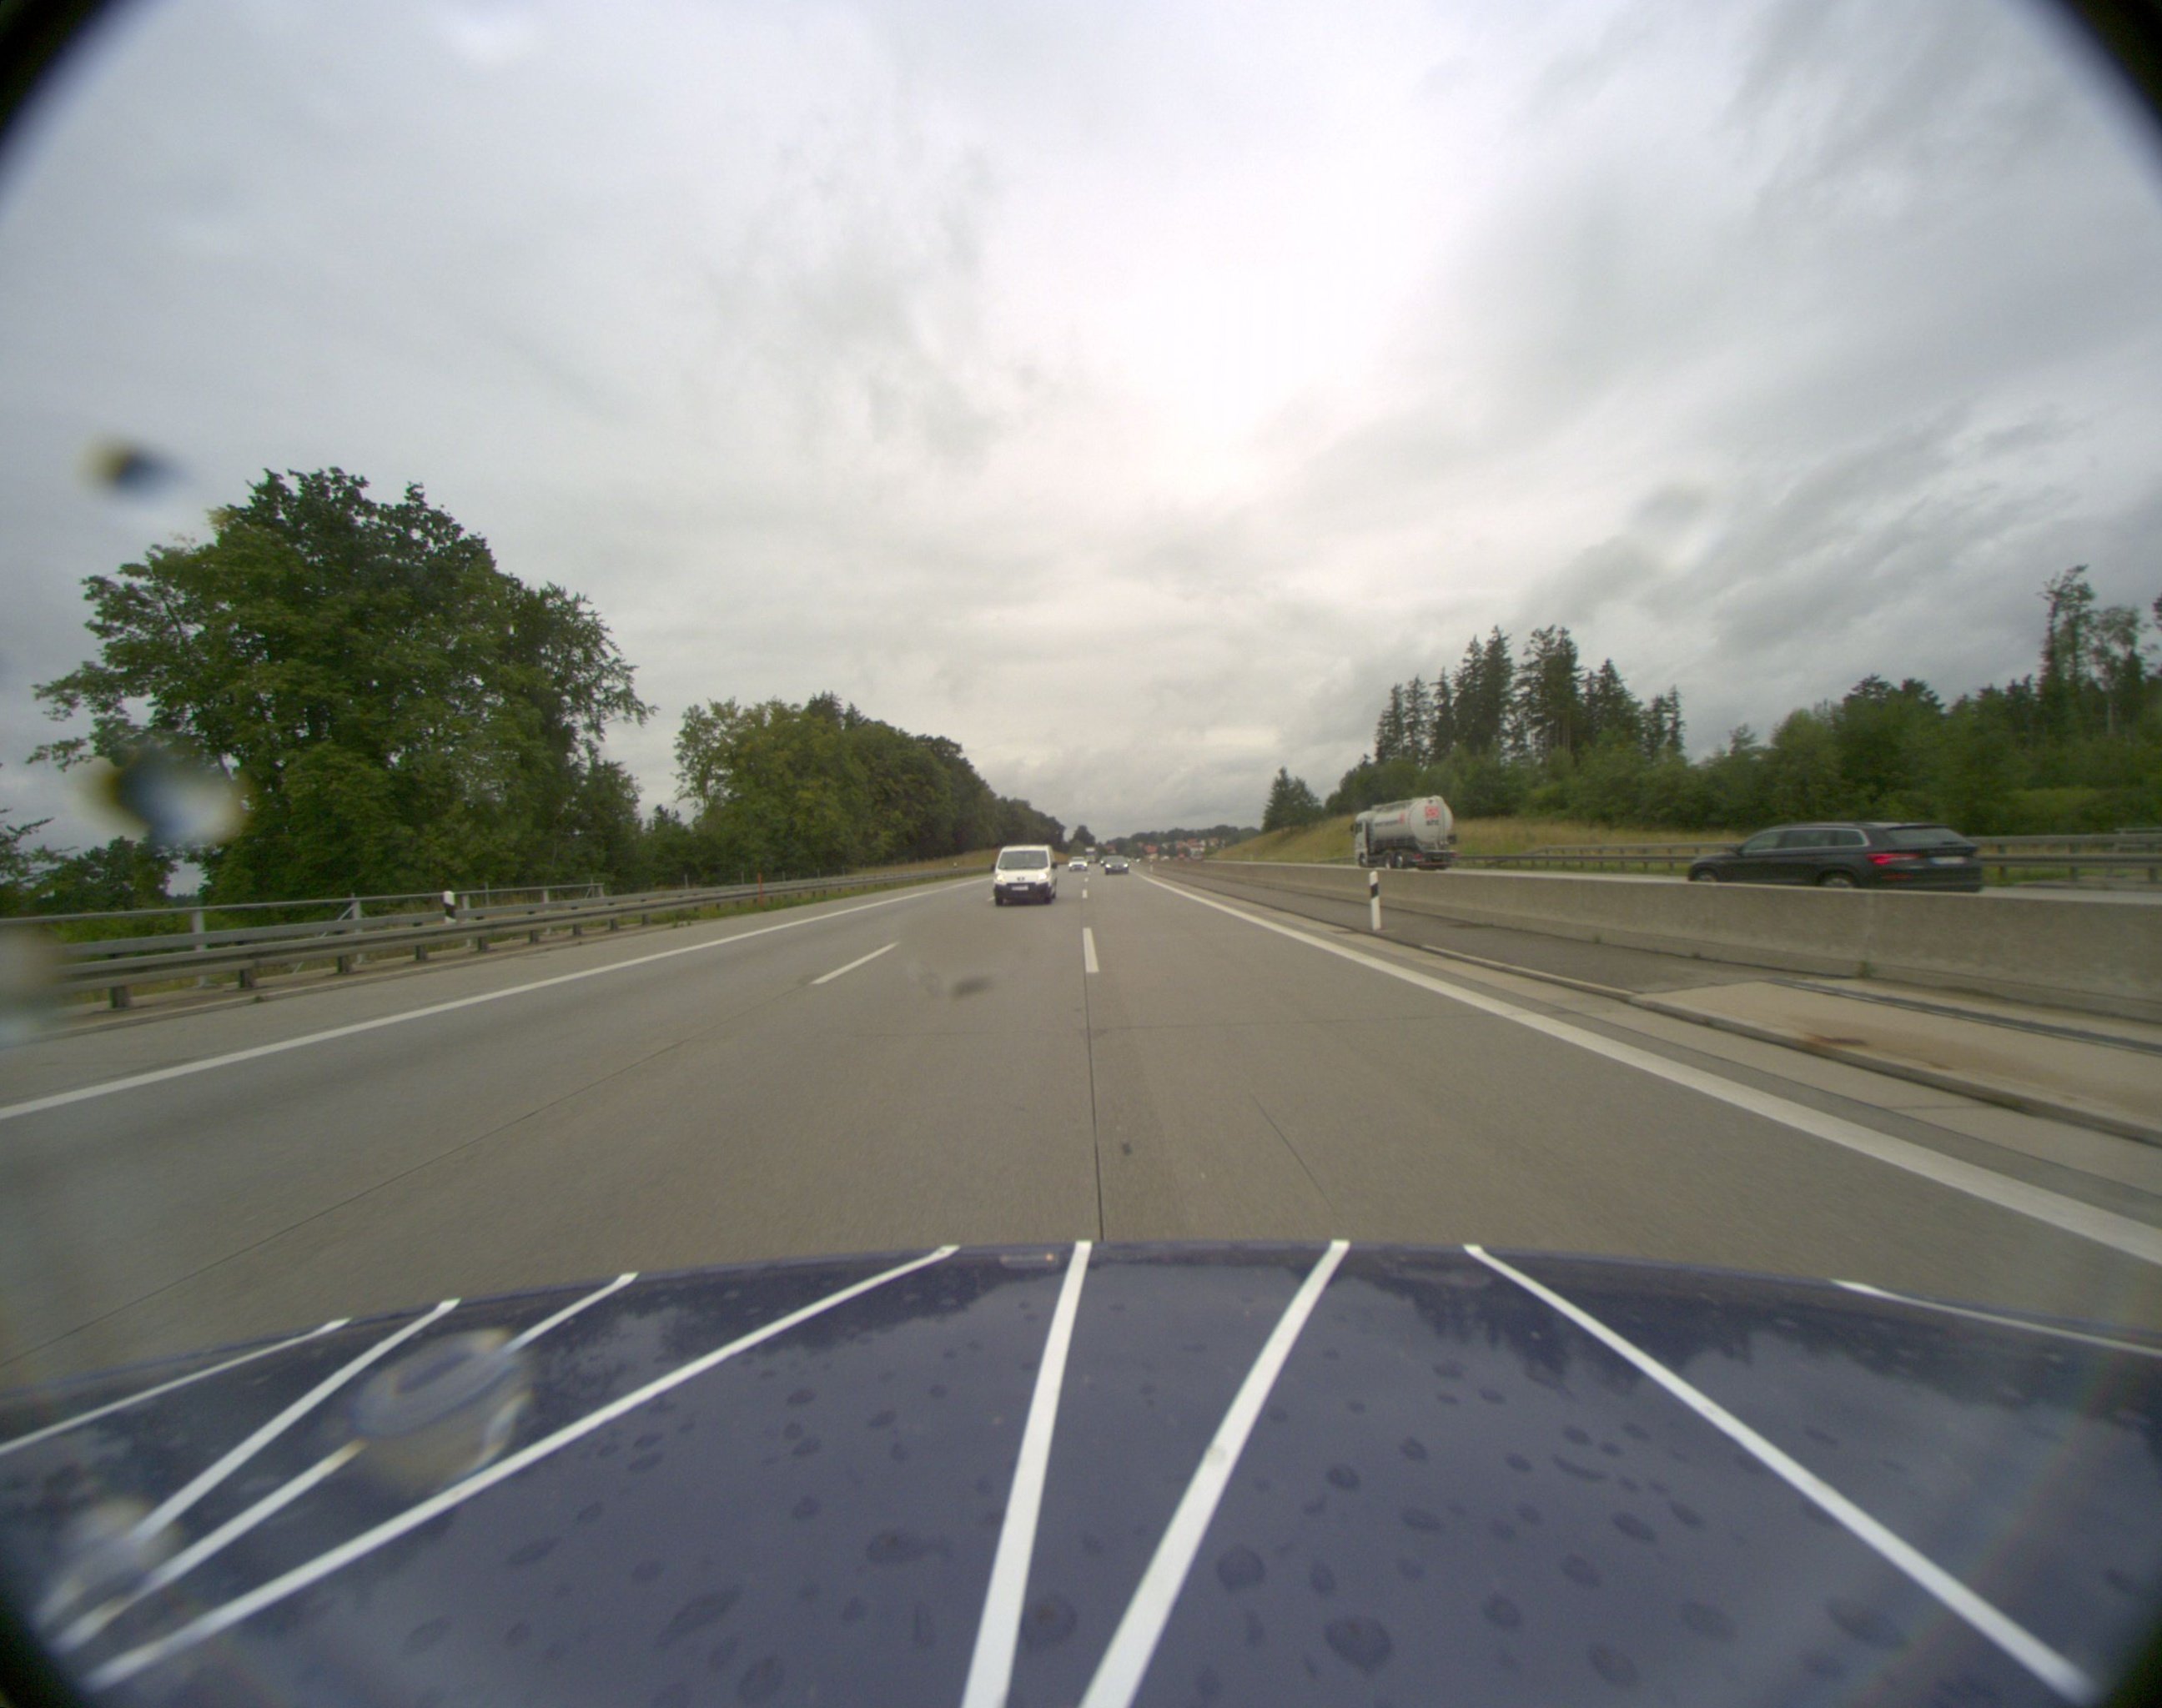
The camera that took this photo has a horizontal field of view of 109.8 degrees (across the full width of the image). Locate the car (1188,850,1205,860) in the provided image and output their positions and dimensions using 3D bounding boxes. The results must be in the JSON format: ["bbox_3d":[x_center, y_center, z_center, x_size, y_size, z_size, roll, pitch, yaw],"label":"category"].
[{"bbox_3d":[16.581,0.078,109.226,1.950,1.280,4.359,-2,1,2],"label":"car"}]

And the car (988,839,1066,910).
[{"bbox_3d":[-1.736,0.612,26.526,2.042,2.111,6.068,-2,1,2],"label":"car"}]

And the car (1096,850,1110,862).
[{"bbox_3d":[3.172,0.245,110.254,1.885,1.669,4.318,-2,1,1],"label":"car"}]

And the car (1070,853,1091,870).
[{"bbox_3d":[-0.068,0.733,79.138,2.031,1.669,4.318,-2,1,-1],"label":"car"}]

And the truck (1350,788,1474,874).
[{"bbox_3d":[17.862,-1.159,41.847,2.844,4.108,8.850,-2,1,0],"label":"truck"}]

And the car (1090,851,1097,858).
[{"bbox_3d":[3.282,0.162,195.950,1.776,1.606,5.617,-2,1,1],"label":"car"}]

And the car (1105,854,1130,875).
[{"bbox_3d":[2.847,0.813,59.675,1.789,1.472,4.571,-2,1,2],"label":"car"}]

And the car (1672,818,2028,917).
[{"bbox_3d":[14.348,0.187,14.772,1.833,1.525,5.089,-2,1,1],"label":"car"}]
